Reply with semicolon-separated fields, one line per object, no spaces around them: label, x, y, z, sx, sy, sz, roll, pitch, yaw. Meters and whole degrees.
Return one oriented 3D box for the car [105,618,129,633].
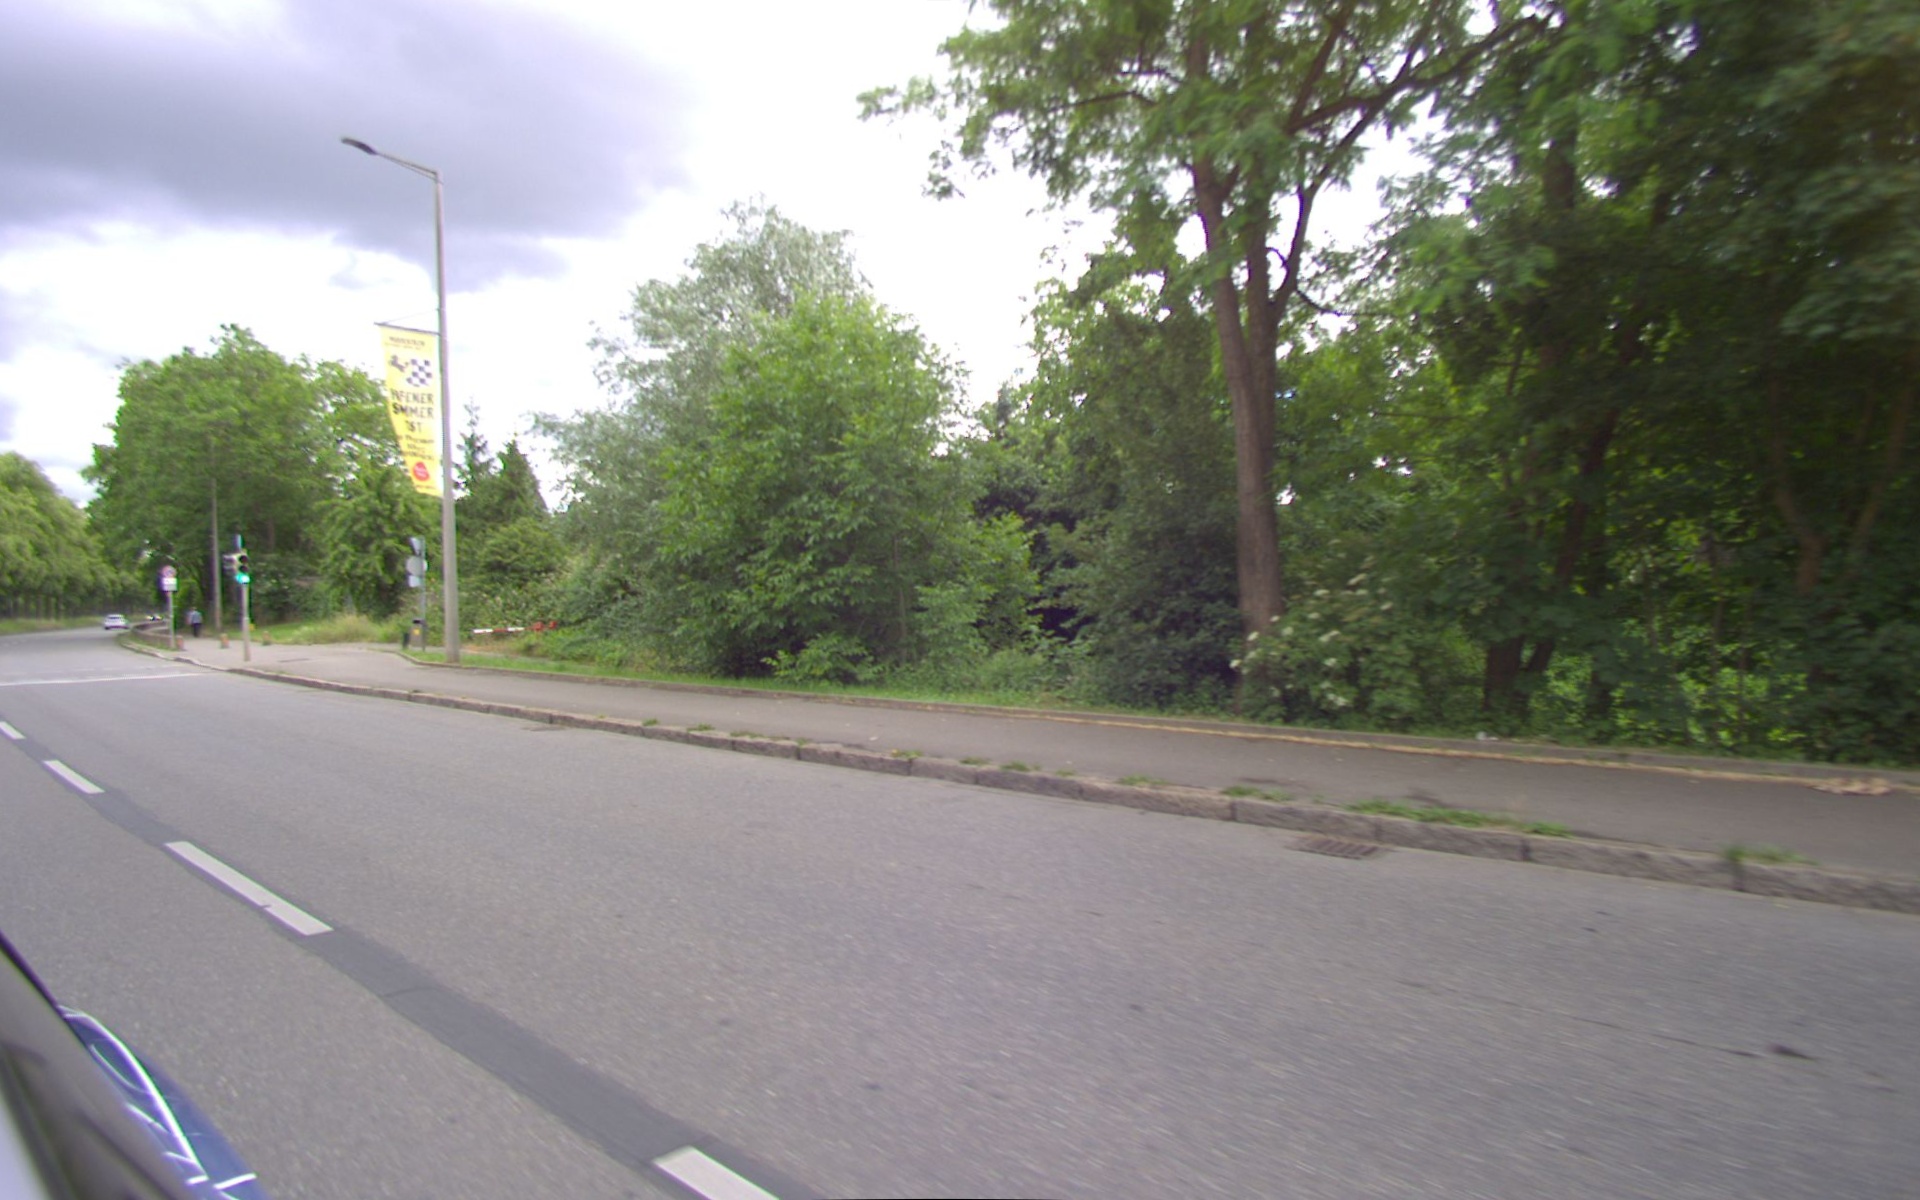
car;-85.590;2.563;102.735;1.752;1.450;4.366;0;-1;-42
